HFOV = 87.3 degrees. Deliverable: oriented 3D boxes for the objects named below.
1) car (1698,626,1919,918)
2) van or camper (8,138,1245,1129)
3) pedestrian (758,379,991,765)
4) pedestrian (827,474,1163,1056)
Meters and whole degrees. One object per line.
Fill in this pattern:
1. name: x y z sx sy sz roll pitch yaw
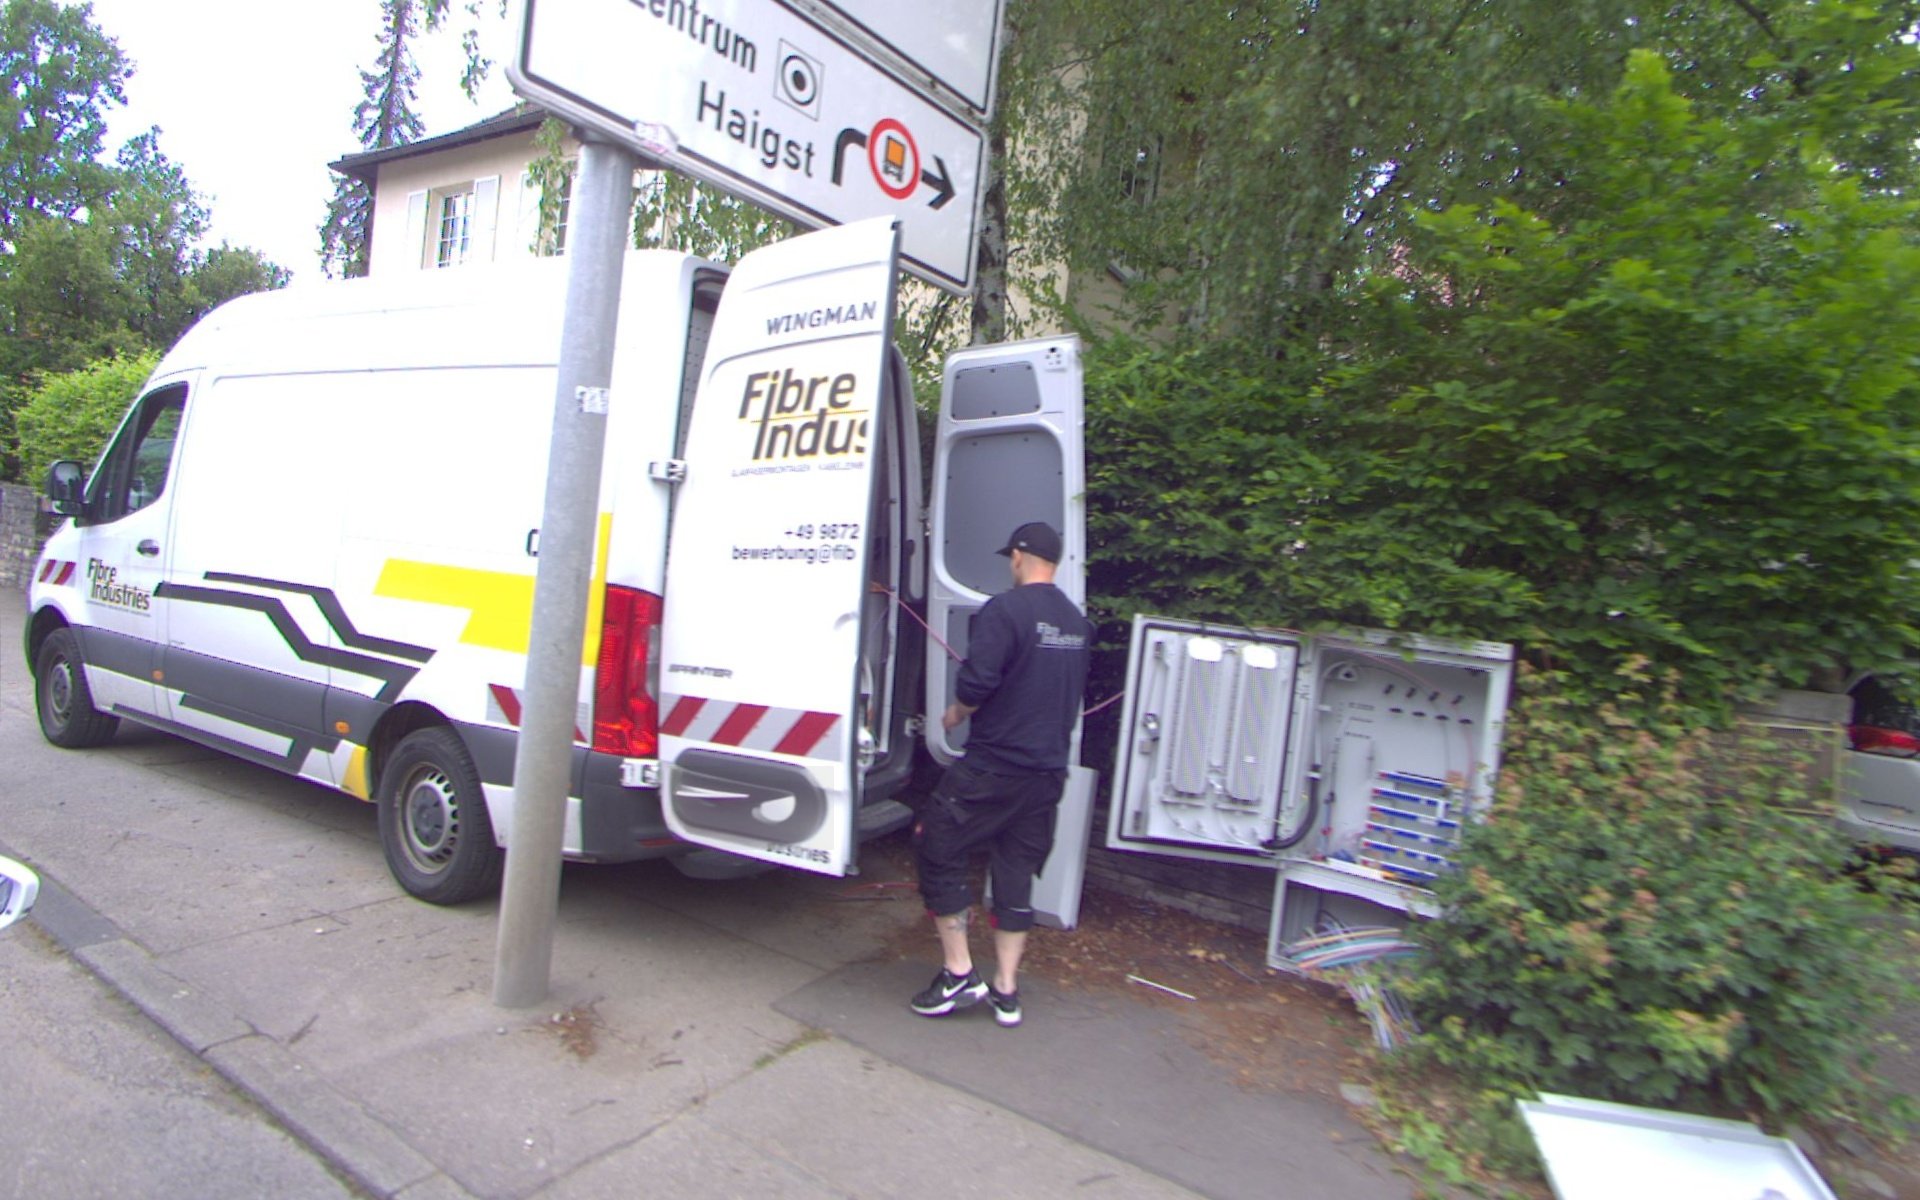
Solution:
1. car: 7.510 1.275 8.093 1.967 1.811 3.990 7 1 31
2. van or camper: -2.176 -0.132 5.224 6.492 2.529 2.340 5 3 31
3. pedestrian: -0.437 -0.105 4.868 0.790 1.665 0.734 5 1 -24
4. pedestrian: 0.083 0.503 3.495 0.742 1.744 0.786 4 3 -26
